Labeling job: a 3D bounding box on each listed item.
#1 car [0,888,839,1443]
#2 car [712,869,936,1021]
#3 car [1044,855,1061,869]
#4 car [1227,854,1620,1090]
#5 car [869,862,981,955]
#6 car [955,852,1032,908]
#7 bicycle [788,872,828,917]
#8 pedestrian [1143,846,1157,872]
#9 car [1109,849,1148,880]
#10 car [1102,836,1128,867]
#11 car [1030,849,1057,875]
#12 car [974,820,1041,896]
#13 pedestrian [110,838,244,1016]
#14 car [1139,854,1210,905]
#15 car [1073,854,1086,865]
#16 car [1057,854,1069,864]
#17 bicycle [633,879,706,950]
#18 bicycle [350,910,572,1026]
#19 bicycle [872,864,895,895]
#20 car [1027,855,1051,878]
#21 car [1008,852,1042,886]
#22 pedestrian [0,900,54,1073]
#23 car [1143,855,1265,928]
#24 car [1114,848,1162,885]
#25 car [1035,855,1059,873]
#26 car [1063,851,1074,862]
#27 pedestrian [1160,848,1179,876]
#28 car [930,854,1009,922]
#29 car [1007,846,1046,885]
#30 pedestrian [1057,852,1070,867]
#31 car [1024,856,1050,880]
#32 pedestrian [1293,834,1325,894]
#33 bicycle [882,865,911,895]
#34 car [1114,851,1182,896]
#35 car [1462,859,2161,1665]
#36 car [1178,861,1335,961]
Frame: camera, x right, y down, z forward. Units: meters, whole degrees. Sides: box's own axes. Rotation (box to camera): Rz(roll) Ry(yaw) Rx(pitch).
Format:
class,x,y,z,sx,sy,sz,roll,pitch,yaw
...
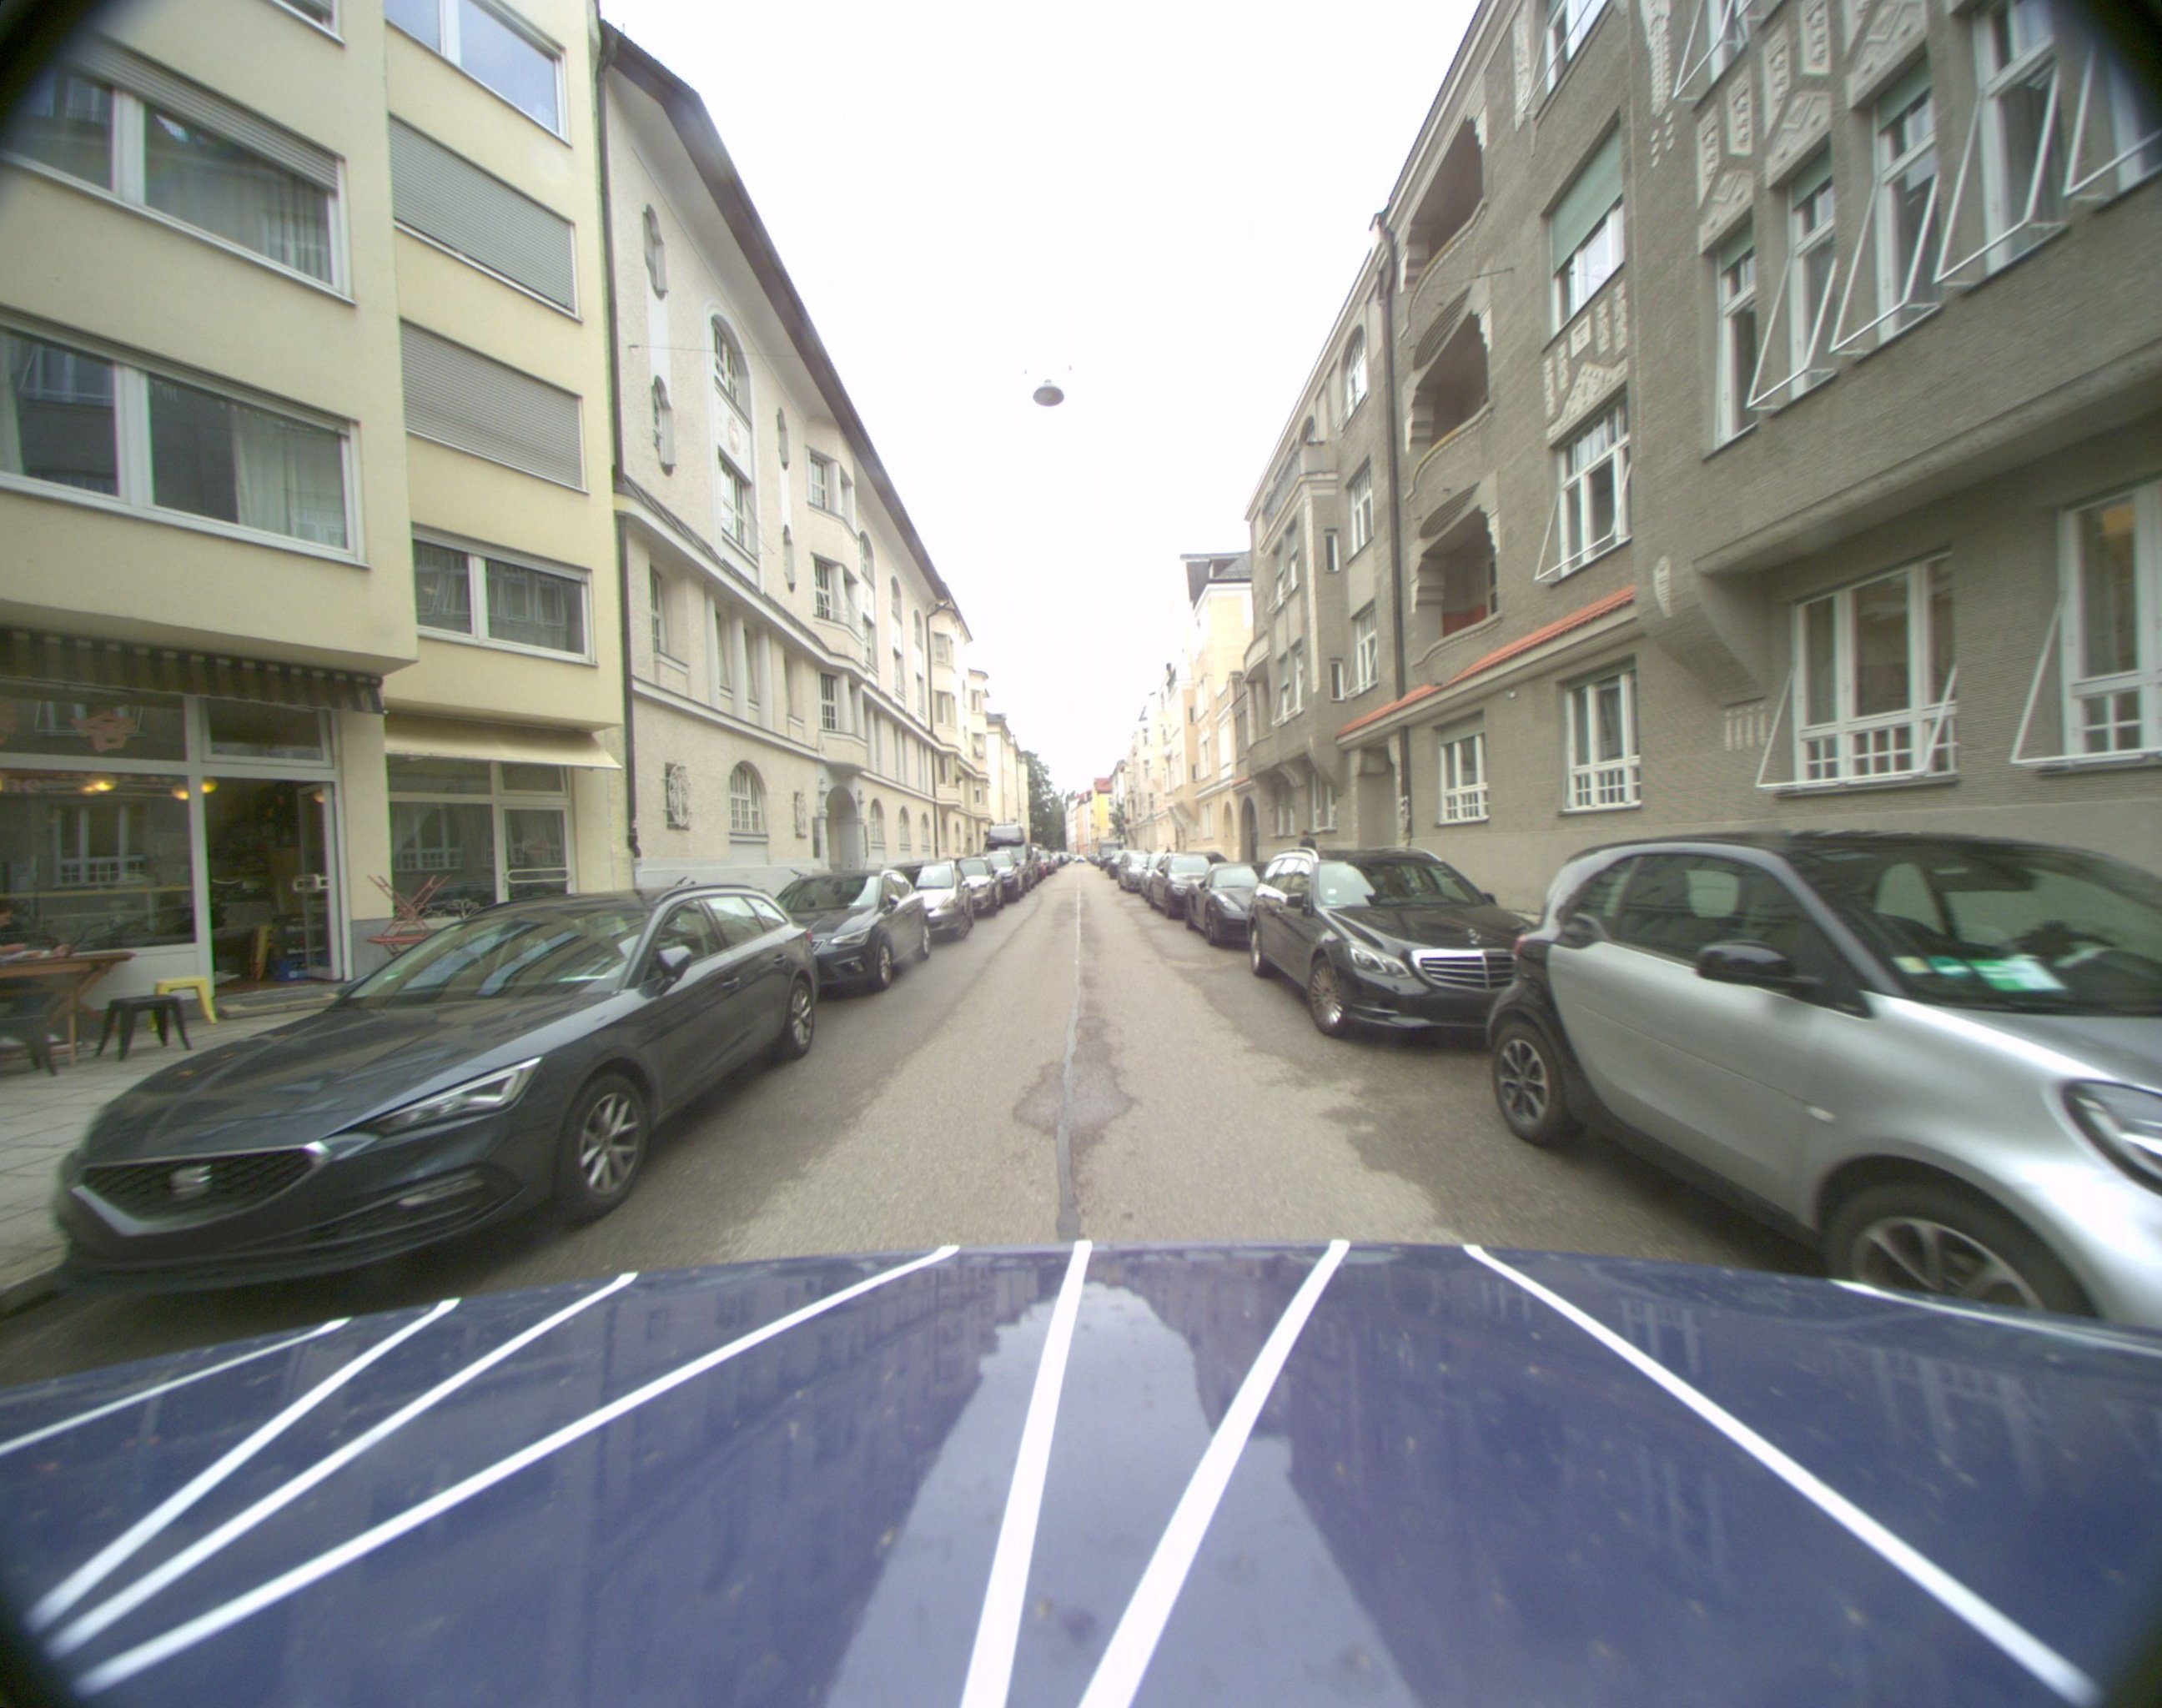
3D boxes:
class,x,y,z,sx,sy,sz,roll,pitch,yaw
car,-3.054,1.096,4.706,1.697,1.463,4.610,-3,0,-2
car,-3.126,1.013,10.092,1.638,1.463,3.854,-3,0,-1
car,-3.149,0.851,85.077,1.683,1.434,3.645,-3,0,0
car,2.751,0.796,7.455,1.760,1.506,4.707,-2,0,1
car,-3.010,0.981,15.401,1.638,1.528,3.853,-3,0,-4
car,-2.939,0.818,26.532,1.998,1.679,4.674,-4,0,1
bicycle,-7.596,1.099,21.202,0.483,1.144,1.787,-3,0,-2
pedestrian,4.778,0.339,52.731,0.837,1.779,0.741,-3,1,0
car,2.772,0.570,45.095,1.956,1.649,4.617,-2,0,-1
car,3.008,-0.224,68.701,2.104,2.606,5.678,-1,0,1
car,-2.902,0.610,59.974,1.881,1.925,4.662,-4,0,-1
car,-3.136,0.097,33.905,2.260,2.943,6.130,-4,1,0
pedestrian,-10.008,0.769,8.418,1.013,1.836,0.743,0,-1,29
car,2.852,0.732,24.098,1.810,1.423,4.439,-1,0,1
car,-0.211,1.012,138.245,1.999,1.788,3.998,-3,0,-4
car,-2.723,0.758,116.845,1.683,1.434,3.645,-3,0,0
bicycle,-7.675,1.099,14.252,0.564,1.186,1.676,0,0,-5
bicycle,-7.004,1.231,8.676,0.751,1.026,1.803,0,1,35
bicycle,-7.511,0.955,28.956,0.483,1.144,1.787,0,0,-2
car,-2.960,0.868,53.989,1.497,1.463,3.675,-4,0,-1
car,-2.852,0.724,39.081,1.546,1.616,2.814,-3,0,-1
pedestrian,-9.108,1.106,6.264,0.531,1.390,0.674,-2,1,33
car,2.770,0.787,18.261,1.999,1.440,4.778,-2,0,-1
car,2.611,0.562,35.568,1.807,1.563,3.813,-3,0,-2
car,-2.871,0.836,64.926,1.731,1.458,3.737,-3,0,0
car,-2.124,0.447,130.694,1.683,1.671,3.645,-3,0,0
pedestrian,5.625,0.510,48.160,0.995,1.718,0.939,-3,1,0
car,-2.941,0.836,20.677,1.638,1.582,3.967,-3,0,-2
car,-3.045,0.616,43.465,1.800,2.027,4.071,-3,0,0
pedestrian,-1.763,0.552,77.396,1.013,1.514,0.716,-3,1,20
car,-2.831,0.882,49.916,1.497,1.463,3.503,-4,0,-1
pedestrian,7.169,0.308,23.909,0.718,1.806,0.730,-3,1,-1
bicycle,-7.554,1.049,31.190,0.482,1.144,1.789,-3,0,9
car,2.499,0.678,29.402,1.842,1.504,4.606,-3,0,-4
car,2.948,0.795,2.754,1.708,1.506,2.911,-1,0,1
car,2.783,0.842,12.967,1.760,1.323,4.096,-2,0,1
